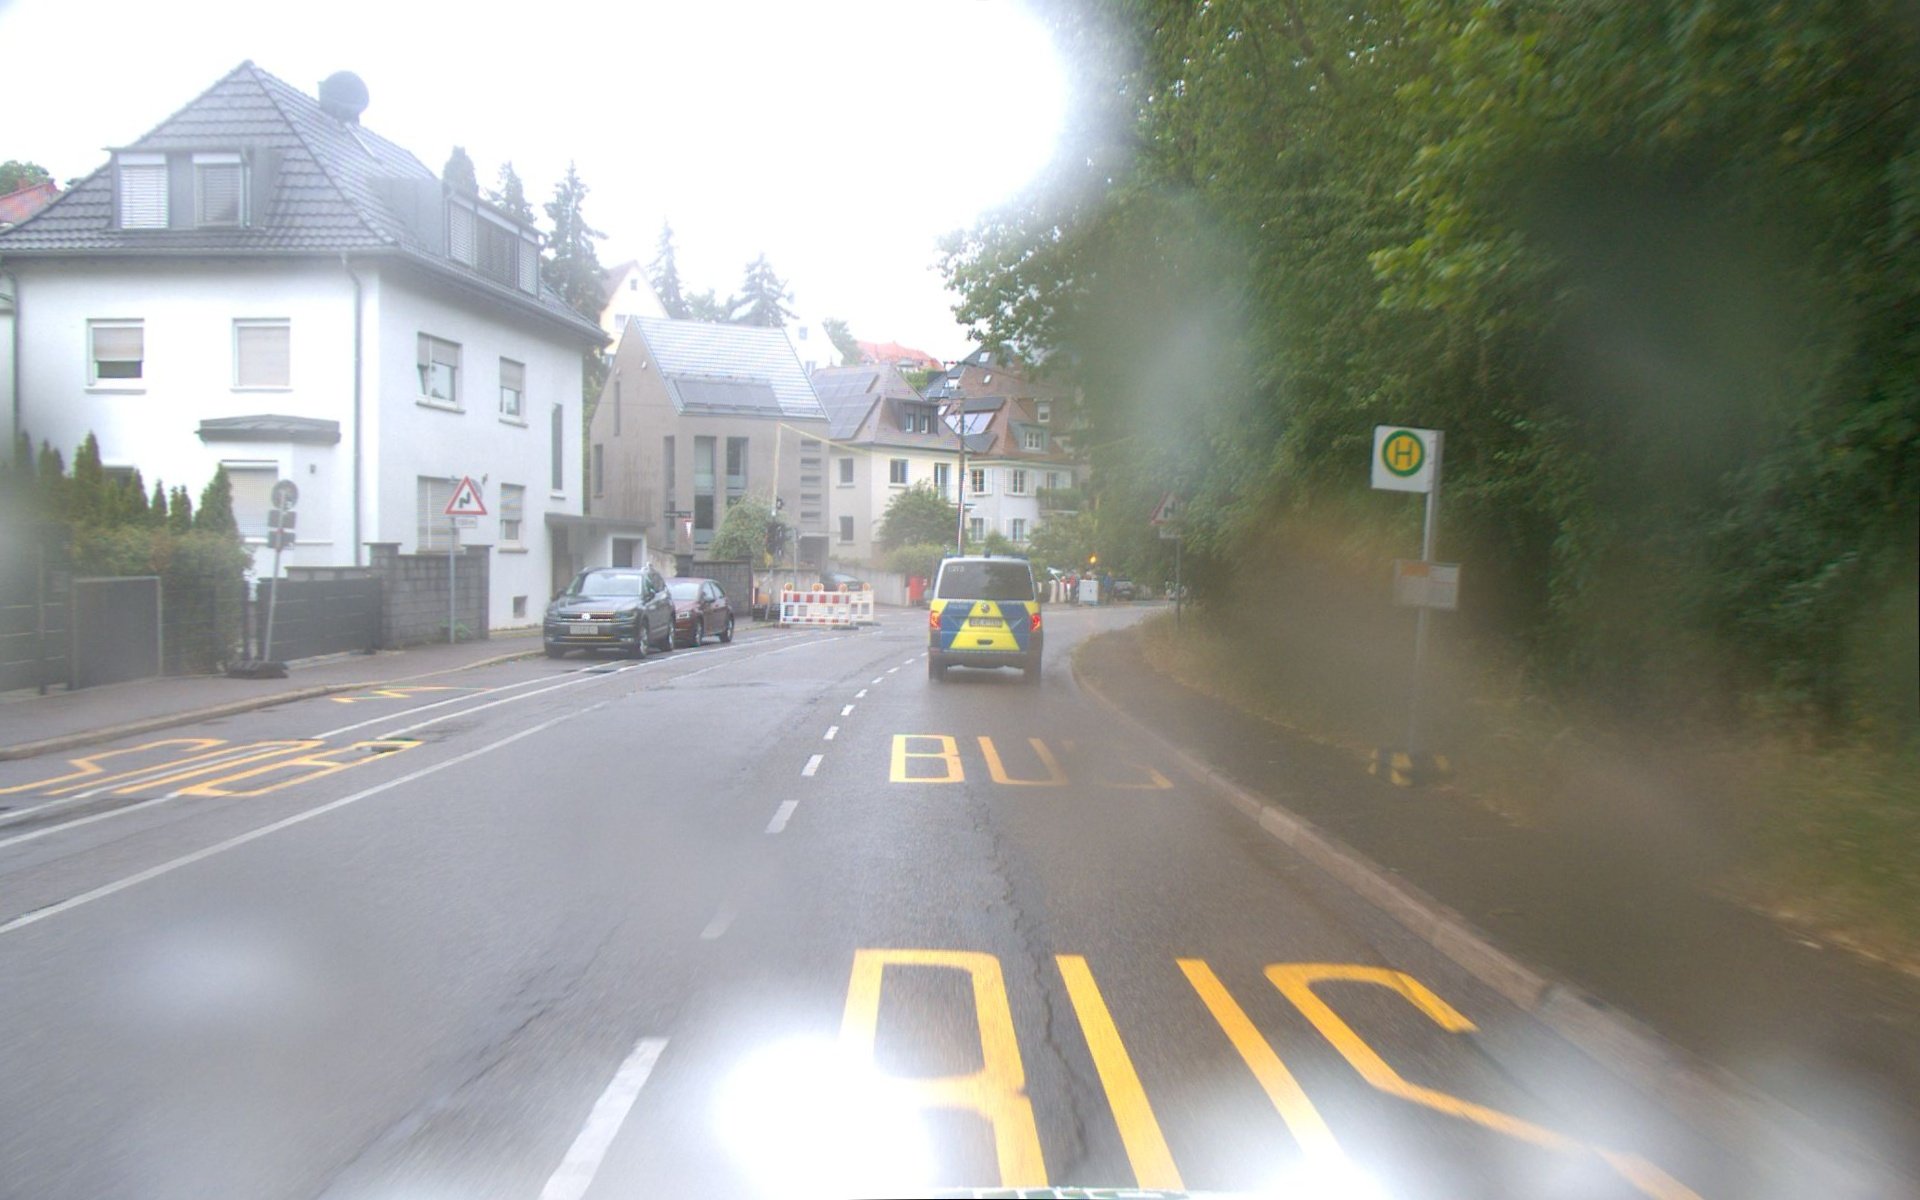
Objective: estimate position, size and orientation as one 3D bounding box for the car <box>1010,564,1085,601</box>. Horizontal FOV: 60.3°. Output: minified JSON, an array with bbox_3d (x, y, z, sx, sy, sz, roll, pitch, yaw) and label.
[{"bbox_3d":[5.083,-1.008,96.312,3.912,2.048,1.827,2,1,30],"label":"car"}]

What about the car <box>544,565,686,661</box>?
[{"bbox_3d":[-6.507,0.182,31.652,1.718,1.687,4.405,-1,1,1],"label":"car"}]

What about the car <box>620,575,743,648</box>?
[{"bbox_3d":[-6.158,0.211,36.984,1.582,1.465,4.234,1,1,6],"label":"car"}]

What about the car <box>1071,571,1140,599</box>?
[{"bbox_3d":[9.232,-0.960,105.054,3.912,1.512,1.757,3,-1,29],"label":"car"}]

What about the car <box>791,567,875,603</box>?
[{"bbox_3d":[-5.616,-0.685,72.897,1.821,1.469,3.945,0,2,-39],"label":"car"}]

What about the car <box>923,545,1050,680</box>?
[{"bbox_3d":[0.501,0.145,27.734,1.952,2.048,4.403,1,1,2],"label":"car"}]
